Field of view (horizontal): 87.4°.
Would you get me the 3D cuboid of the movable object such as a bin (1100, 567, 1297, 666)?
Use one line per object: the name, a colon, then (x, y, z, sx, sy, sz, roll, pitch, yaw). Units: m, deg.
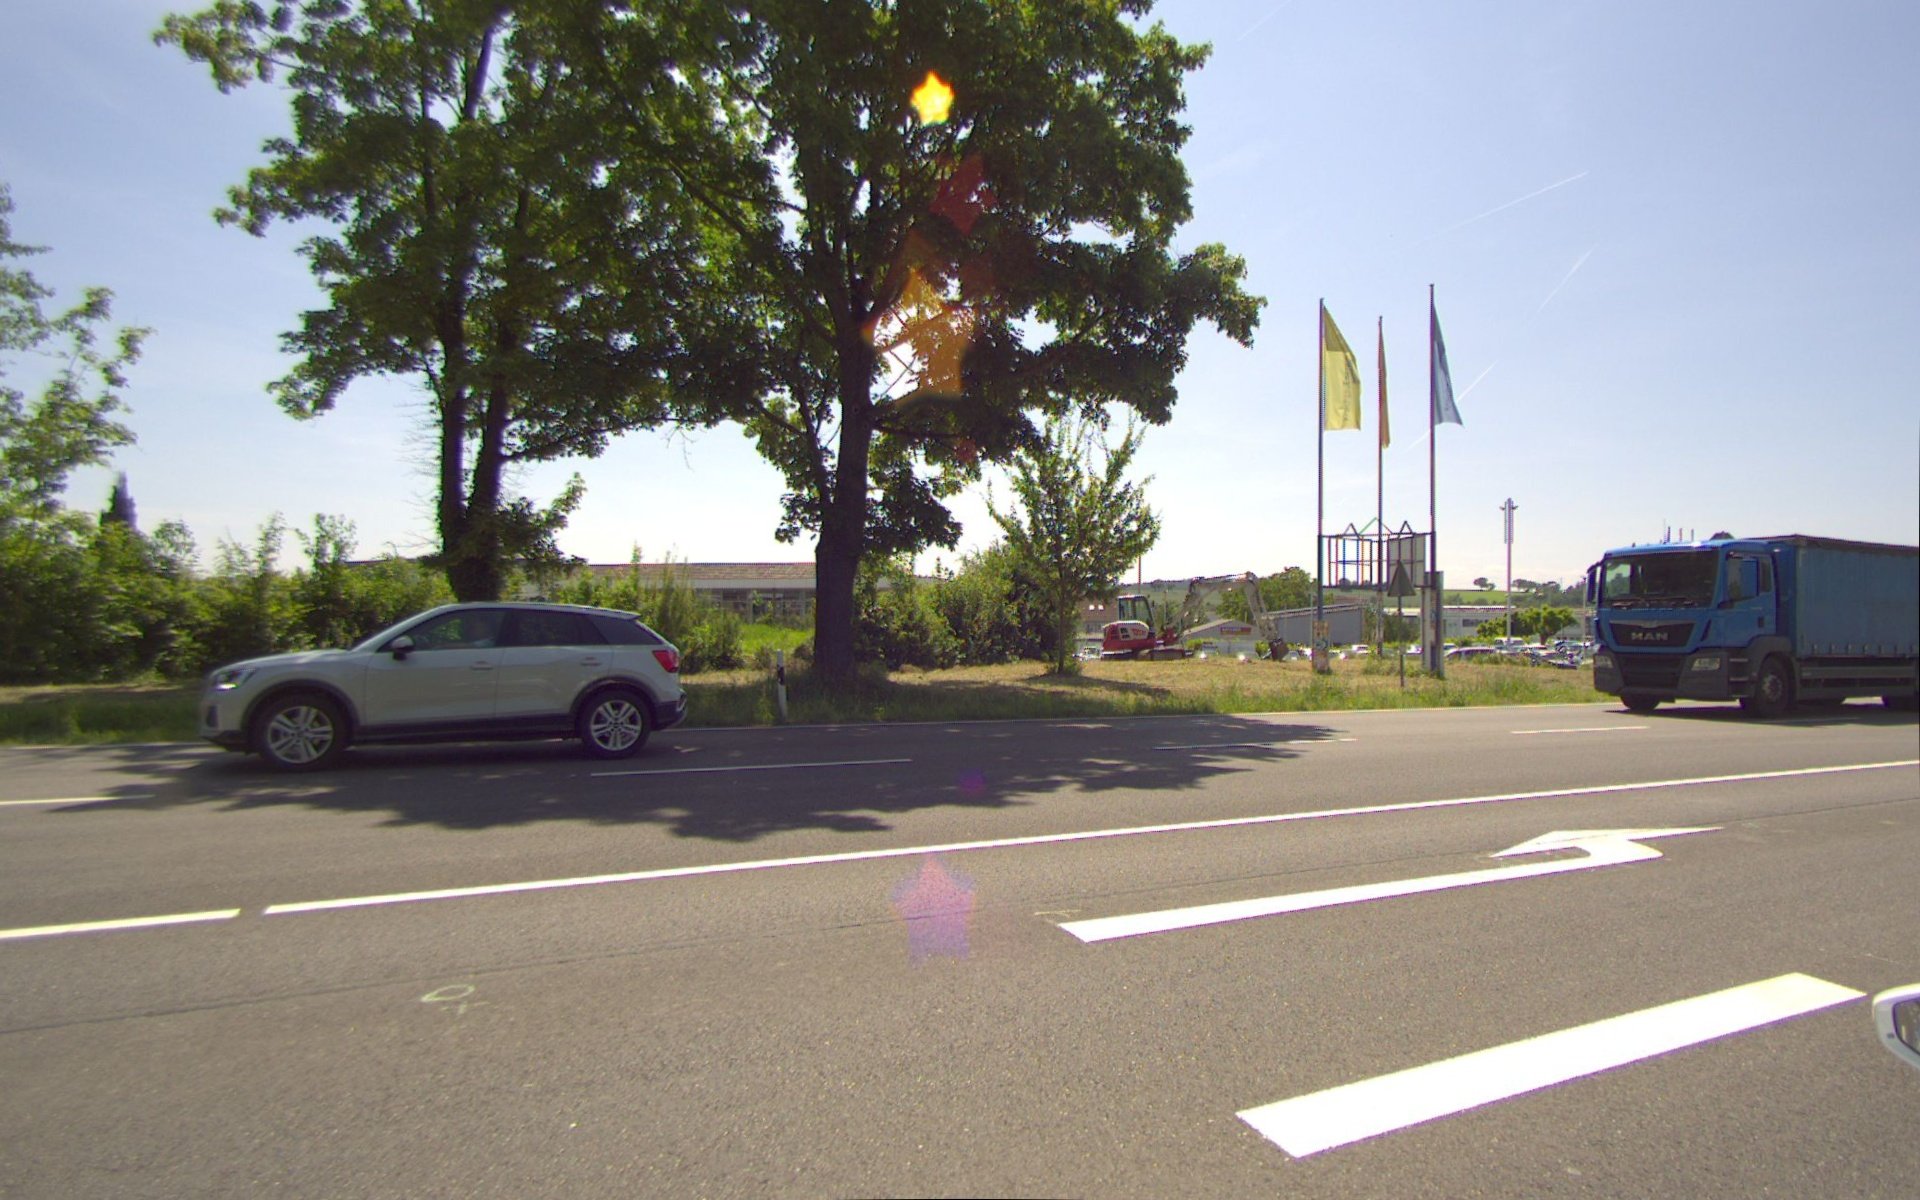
movable object such as a bin: (8.654, 0.575, 36.467, 6.656, 3.342, 3.054, 1, -1, 16)

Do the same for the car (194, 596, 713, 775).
car: (-4.669, 0.754, 9.802, 4.123, 1.446, 1.756, 2, -1, -25)

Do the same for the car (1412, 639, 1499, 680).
car: (26.705, 3.196, 54.287, 3.920, 2.040, 2.001, 1, -2, 18)

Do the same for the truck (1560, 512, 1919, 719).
truck: (17.097, 0.442, 20.150, 11.327, 3.395, 2.838, 2, -1, -25)

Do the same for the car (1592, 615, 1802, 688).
car: (27.732, 2.034, 38.085, 2.169, 2.519, 5.964, 1, -5, -30)
